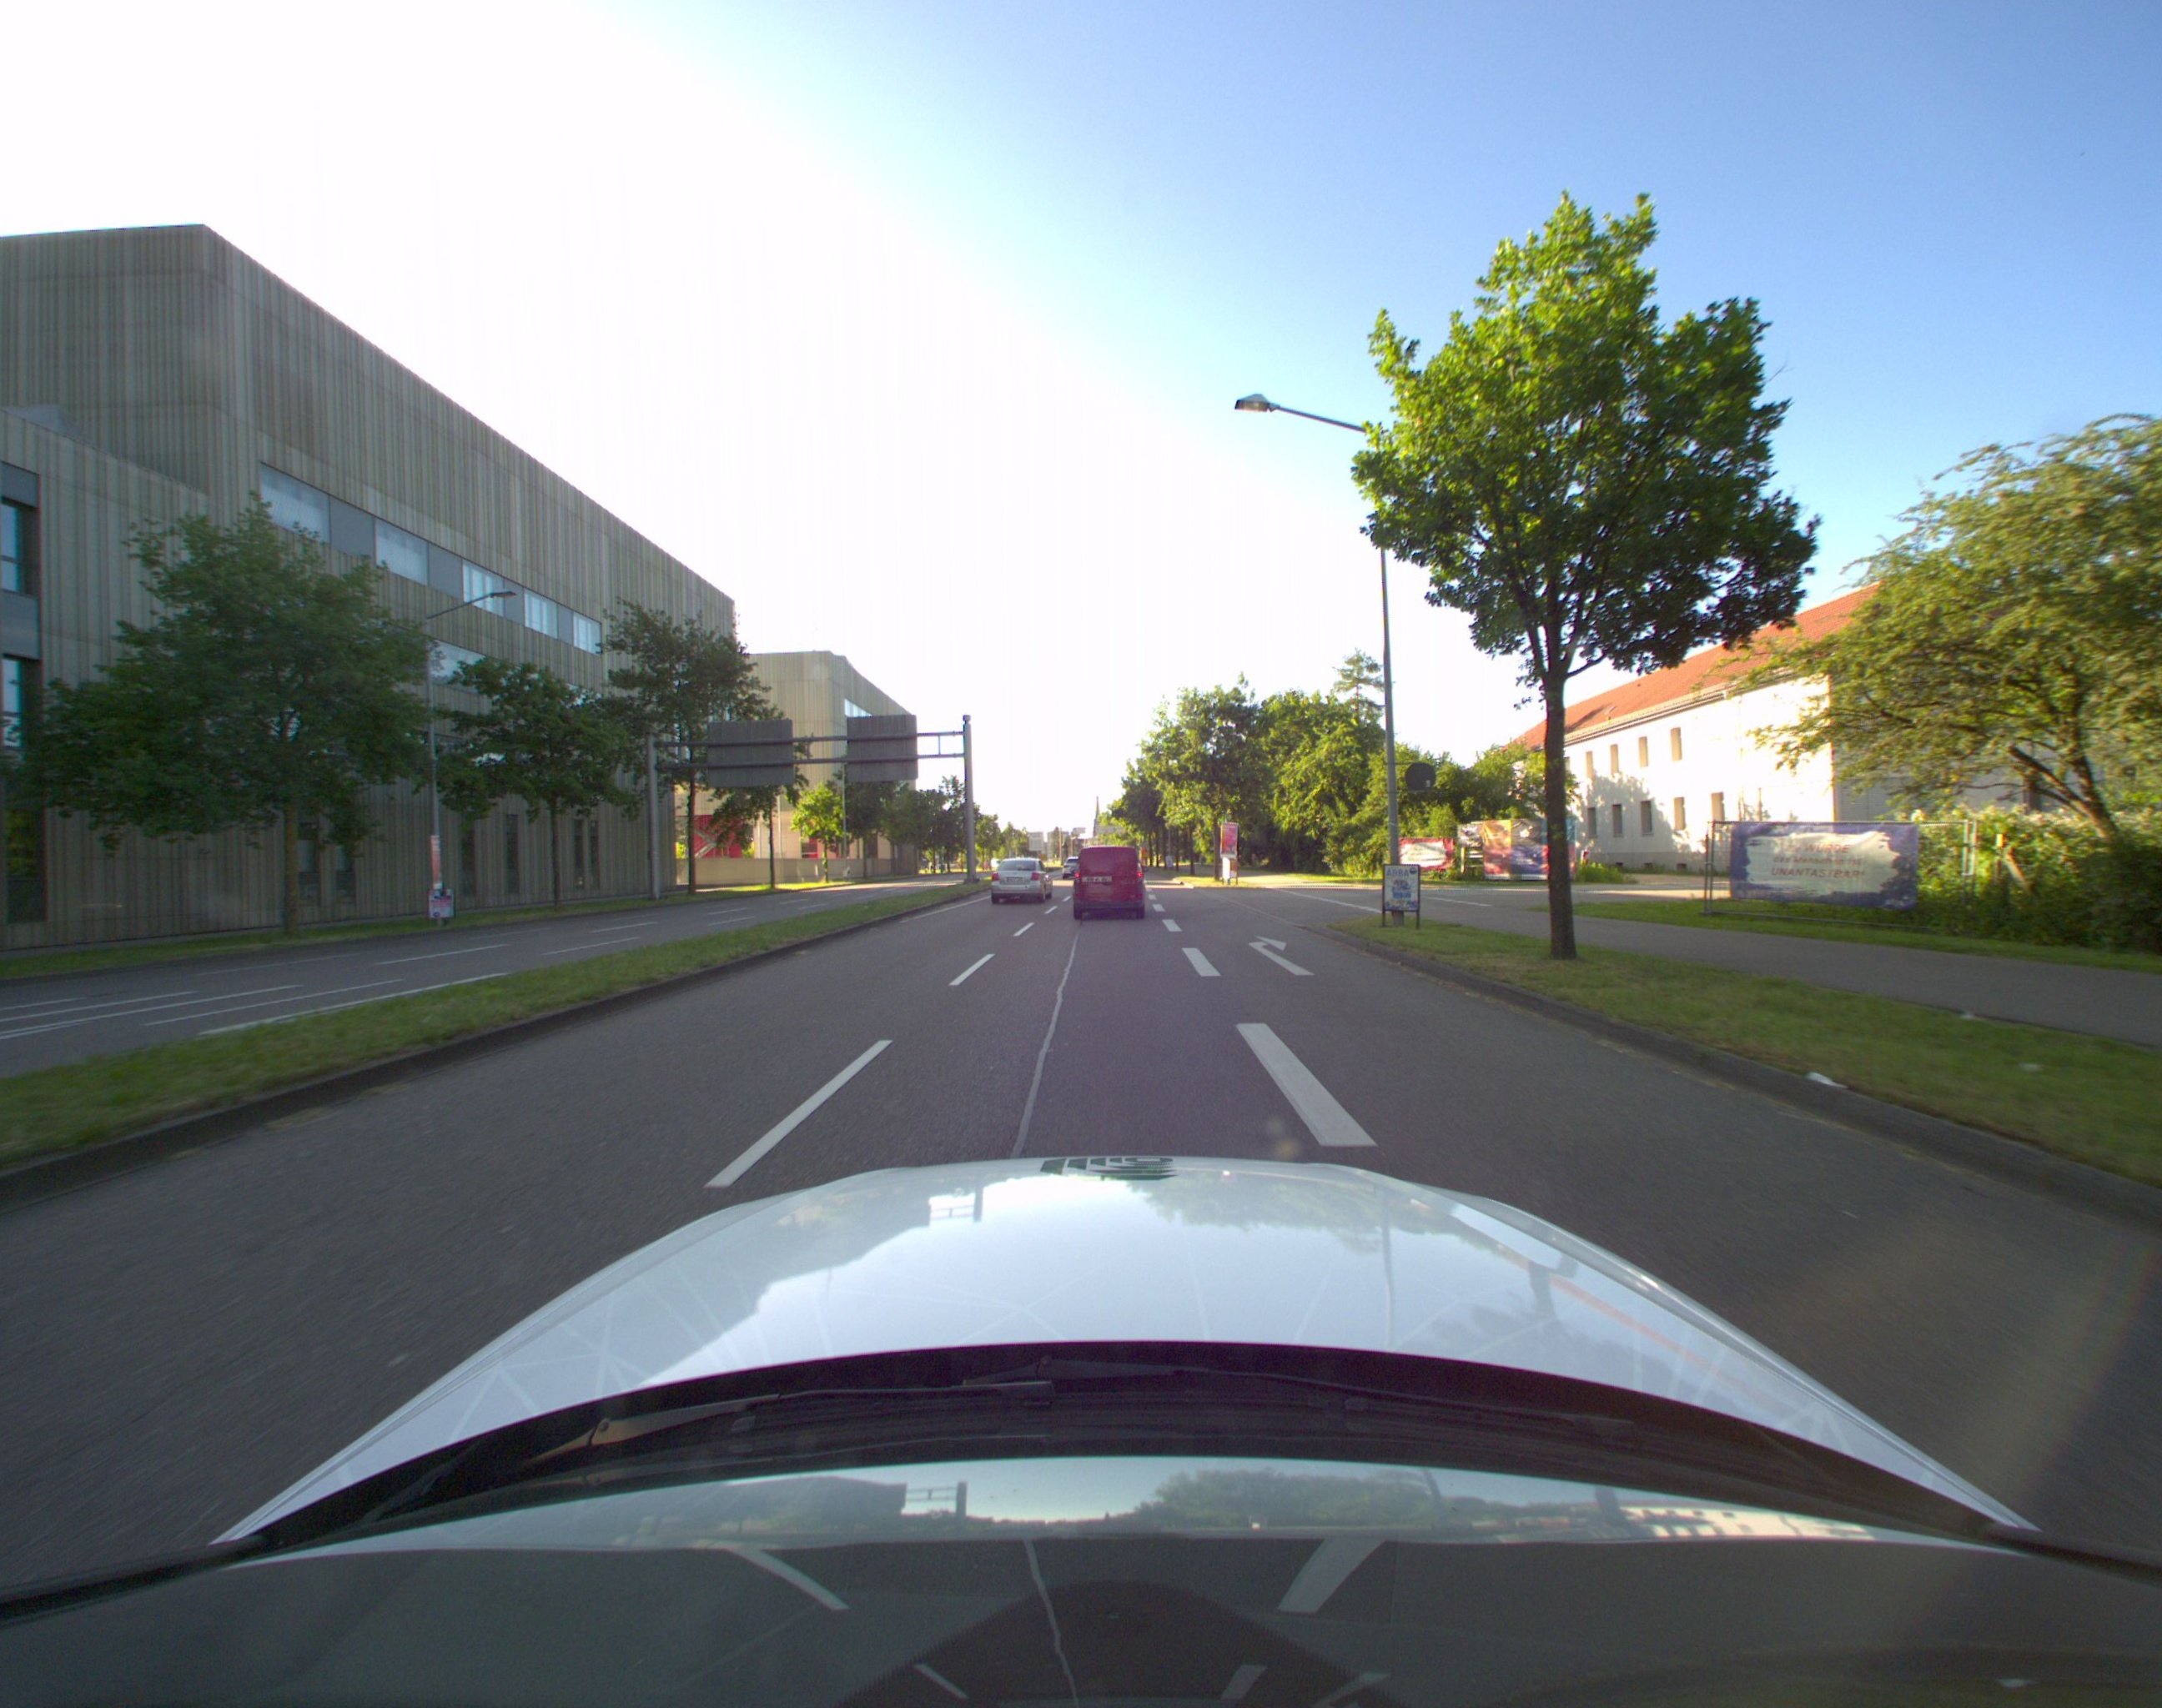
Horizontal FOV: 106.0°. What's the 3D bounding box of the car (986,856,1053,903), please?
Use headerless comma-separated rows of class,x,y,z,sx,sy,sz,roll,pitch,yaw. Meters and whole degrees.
car,-2.001,0.806,27.726,1.834,1.456,4.163,-1,0,2

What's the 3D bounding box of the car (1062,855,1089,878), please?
car,-0.343,0.822,53.673,1.655,1.398,3.559,-2,0,1

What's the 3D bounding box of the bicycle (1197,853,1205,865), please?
bicycle,11.695,0.519,79.453,0.769,1.131,1.713,-2,0,9

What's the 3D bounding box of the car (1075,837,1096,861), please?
car,0.396,-0.380,67.548,1.655,1.856,3.559,-2,0,1

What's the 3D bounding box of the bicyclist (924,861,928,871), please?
bicyclist,-22.895,1.787,120.184,0.480,1.395,0.844,-2,-1,0

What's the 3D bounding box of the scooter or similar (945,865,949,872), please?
scooter or similar,-21.179,2.257,128.752,0.230,1.149,1.328,-2,-1,2

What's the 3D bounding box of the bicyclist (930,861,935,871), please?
bicyclist,-21.857,1.725,119.894,0.560,1.392,0.747,-2,-1,0

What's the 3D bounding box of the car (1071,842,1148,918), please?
car,0.712,0.618,21.157,1.800,1.759,4.006,-1,0,1

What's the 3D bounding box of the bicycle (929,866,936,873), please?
bicycle,-21.837,2.234,119.919,0.568,1.003,2.096,-2,-1,0

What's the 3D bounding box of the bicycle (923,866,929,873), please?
bicycle,-22.873,2.281,120.010,0.485,1.003,2.096,-2,-1,0
